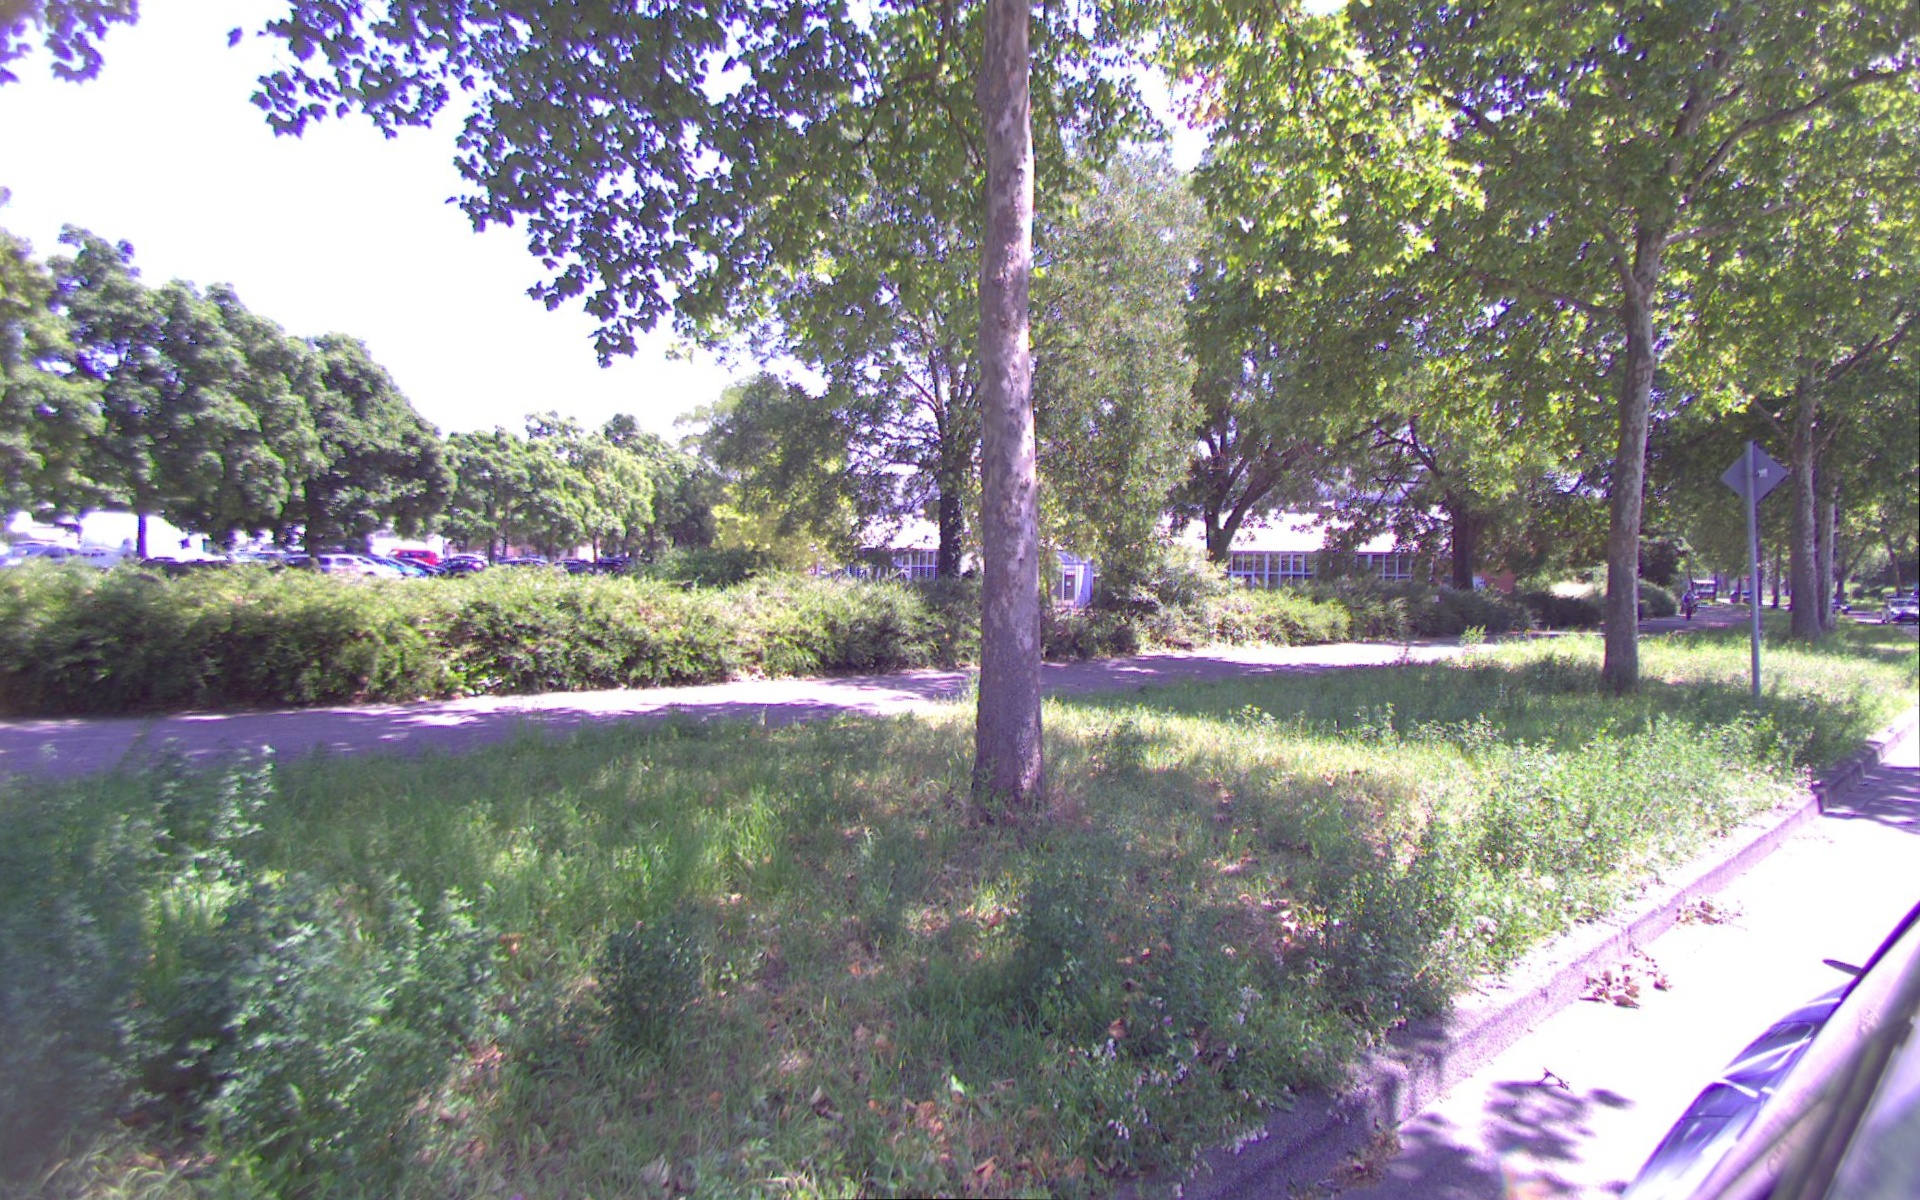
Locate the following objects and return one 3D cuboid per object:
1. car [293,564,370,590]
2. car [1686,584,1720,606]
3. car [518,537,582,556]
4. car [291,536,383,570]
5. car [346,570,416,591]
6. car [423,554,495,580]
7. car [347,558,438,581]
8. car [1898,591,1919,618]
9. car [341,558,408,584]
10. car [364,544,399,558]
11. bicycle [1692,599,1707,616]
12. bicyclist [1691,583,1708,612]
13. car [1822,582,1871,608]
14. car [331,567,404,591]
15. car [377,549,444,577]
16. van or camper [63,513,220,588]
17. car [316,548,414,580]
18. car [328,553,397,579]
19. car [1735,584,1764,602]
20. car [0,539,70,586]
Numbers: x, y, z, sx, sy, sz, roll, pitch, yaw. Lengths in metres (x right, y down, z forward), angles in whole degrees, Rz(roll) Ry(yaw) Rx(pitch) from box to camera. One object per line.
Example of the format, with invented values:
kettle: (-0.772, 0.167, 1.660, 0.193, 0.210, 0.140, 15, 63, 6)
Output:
car: (-26.298, -0.958, 42.374, 2.547, 1.049, 0.955, 1, 1, -8)
car: (95.218, -0.737, 129.792, 2.897, 2.687, 6.295, 1, 2, 32)
car: (-62.716, -8.114, 154.965, 8.647, 2.620, 3.054, 1, 1, -9)
car: (-38.795, -2.909, 63.149, 4.334, 2.038, 2.249, 1, 1, -5)
car: (-25.839, -0.880, 45.212, 2.547, 0.852, 0.955, 1, 1, -8)
car: (-28.650, -1.882, 57.964, 3.357, 1.383, 1.720, 1, 1, -8)
car: (-27.494, -1.468, 49.130, 3.494, 1.047, 1.685, 1, 2, -8)
car: (53.810, 0.273, 56.762, 3.592, 1.463, 1.620, 0, 1, -45)
car: (-27.687, -1.370, 47.890, 2.547, 1.141, 0.955, 1, 1, -8)
car: (-70.036, -5.933, 122.535, 1.433, 1.638, 3.326, 2, 2, 35)
bicycle: (35.885, 0.358, 49.092, 0.463, 0.773, 1.644, 2, 2, 40)
bicyclist: (35.928, -0.127, 49.137, 0.598, 1.355, 0.656, 2, 1, 40)
car: (68.842, -0.430, 78.651, 1.982, 1.905, 3.961, 2, 1, 28)
car: (-25.702, -0.910, 43.930, 2.547, 0.999, 0.955, 1, 1, -8)
car: (-40.895, -2.761, 75.385, 3.919, 2.039, 1.969, 0, 0, -6)
van or camper: (-32.484, -1.919, 40.398, 2.161, 2.785, 5.131, 1, 2, 0)
car: (-27.327, -1.627, 46.589, 3.501, 1.241, 1.622, 3, 0, -8)
car: (-27.510, -1.543, 46.630, 2.547, 1.141, 1.008, 1, 1, -8)
car: (85.378, -0.798, 109.472, 1.985, 1.816, 3.954, 2, 2, 32)
car: (-36.518, -1.435, 38.430, 1.919, 1.739, 4.073, 1, 1, -1)
